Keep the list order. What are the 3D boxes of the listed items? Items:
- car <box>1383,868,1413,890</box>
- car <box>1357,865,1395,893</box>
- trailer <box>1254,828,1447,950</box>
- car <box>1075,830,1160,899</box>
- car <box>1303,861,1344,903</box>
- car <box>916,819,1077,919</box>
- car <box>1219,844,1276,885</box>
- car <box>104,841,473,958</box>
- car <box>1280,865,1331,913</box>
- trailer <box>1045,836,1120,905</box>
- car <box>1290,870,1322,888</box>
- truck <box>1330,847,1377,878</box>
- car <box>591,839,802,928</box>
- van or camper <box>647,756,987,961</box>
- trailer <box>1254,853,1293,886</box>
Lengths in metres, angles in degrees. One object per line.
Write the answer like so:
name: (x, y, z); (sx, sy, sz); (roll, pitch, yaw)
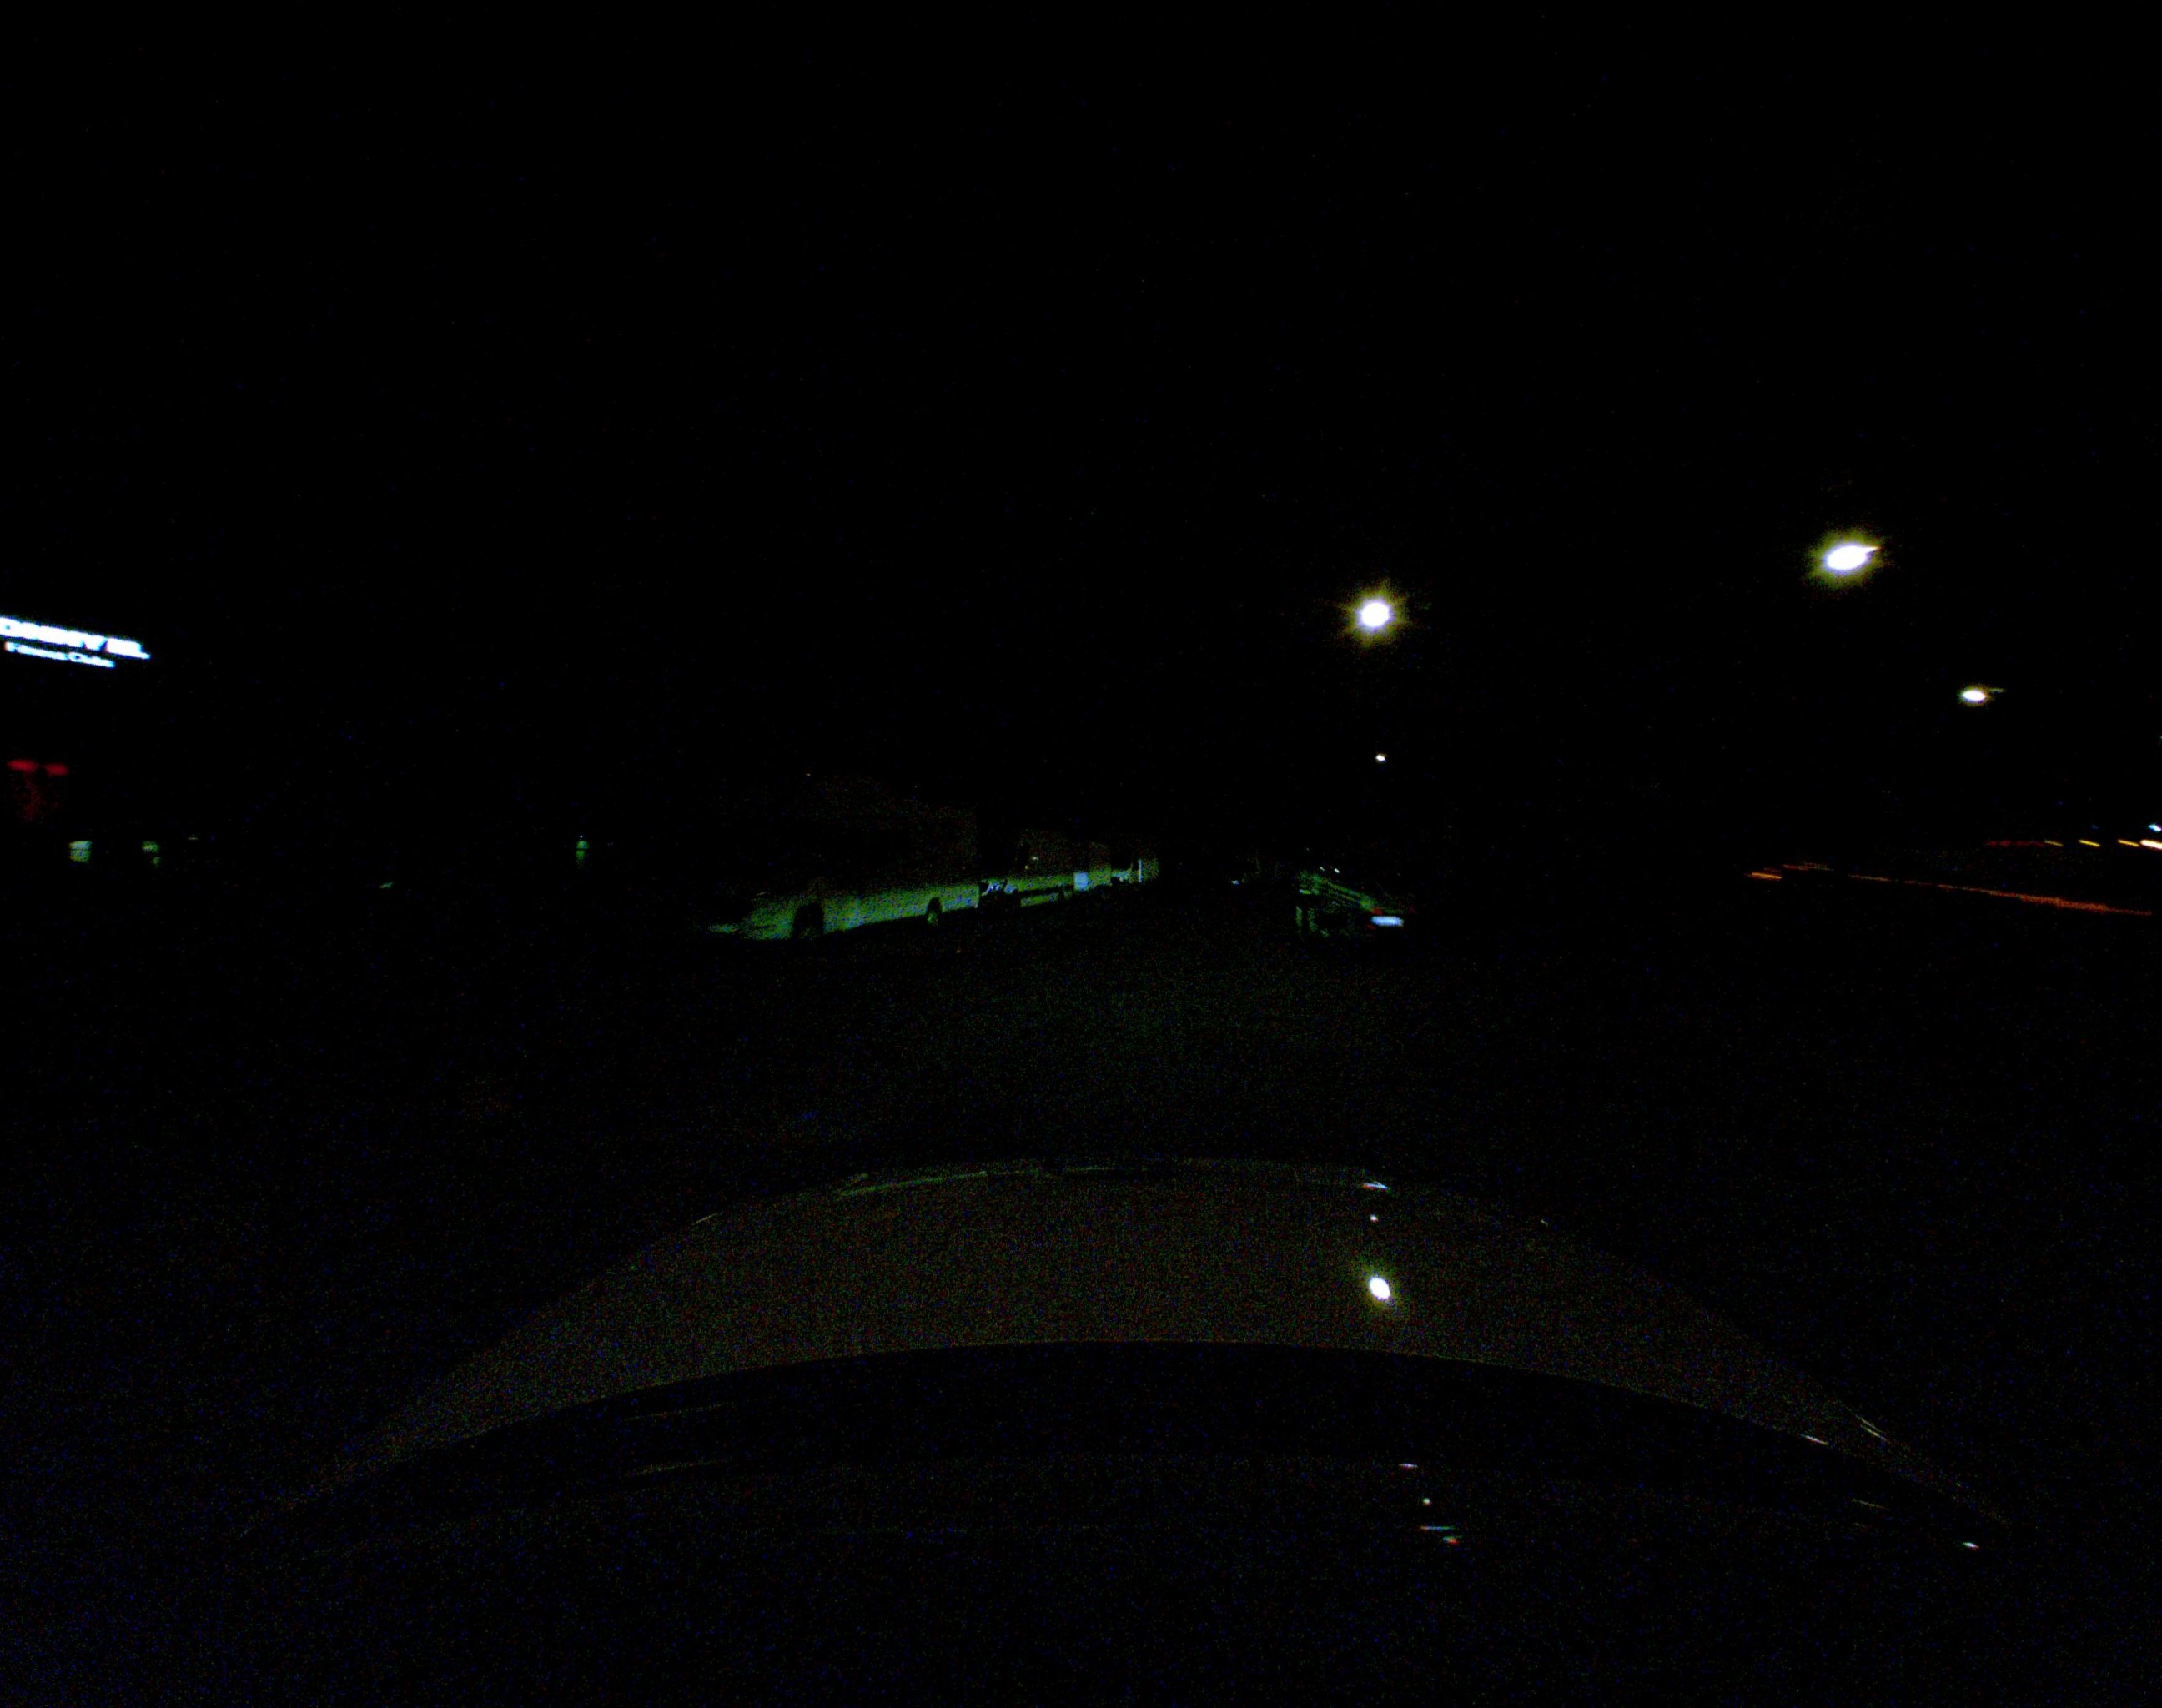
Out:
car: (28.140, 2.240, 72.245); (1.704, 1.821, 4.024); (2, -1, 32)
car: (20.933, 1.797, 57.726); (1.704, 1.821, 4.024); (2, -1, 32)
trailer: (5.385, 0.648, 17.155); (1.559, 2.161, 5.202); (0, -1, -10)
car: (1.891, 0.488, 38.490); (2.500, 2.927, 7.230); (0, -1, 15)
car: (11.509, 1.298, 38.584); (1.707, 1.821, 4.017); (2, 0, 17)
car: (-2.282, 0.428, 24.962); (2.500, 2.606, 7.120); (0, -1, 15)
car: (13.797, 0.818, 67.050); (2.495, 3.171, 7.181); (0, -1, 30)
car: (-20.400, 1.048, 21.426); (1.975, 2.554, 6.721); (3, 1, 41)
car: (8.778, 1.312, 31.635); (1.707, 1.661, 4.017); (2, 0, 17)
trailer: (0.131, 0.611, 31.902); (1.978, 2.527, 3.583); (0, 0, 17)
car: (22.794, 2.575, 82.587); (1.974, 1.699, 4.232); (2, -1, 31)
truck: (32.419, 1.029, 96.746); (1.975, 3.403, 9.034); (3, 1, 40)
car: (-13.847, 0.979, 29.848); (1.975, 2.841, 6.721); (3, 1, 41)
van or camper: (-4.587, 0.099, 16.220); (2.499, 3.094, 7.479); (0, -1, 18)
trailer: (17.203, 1.335, 72.618); (1.974, 2.813, 4.732); (1, 0, 31)
